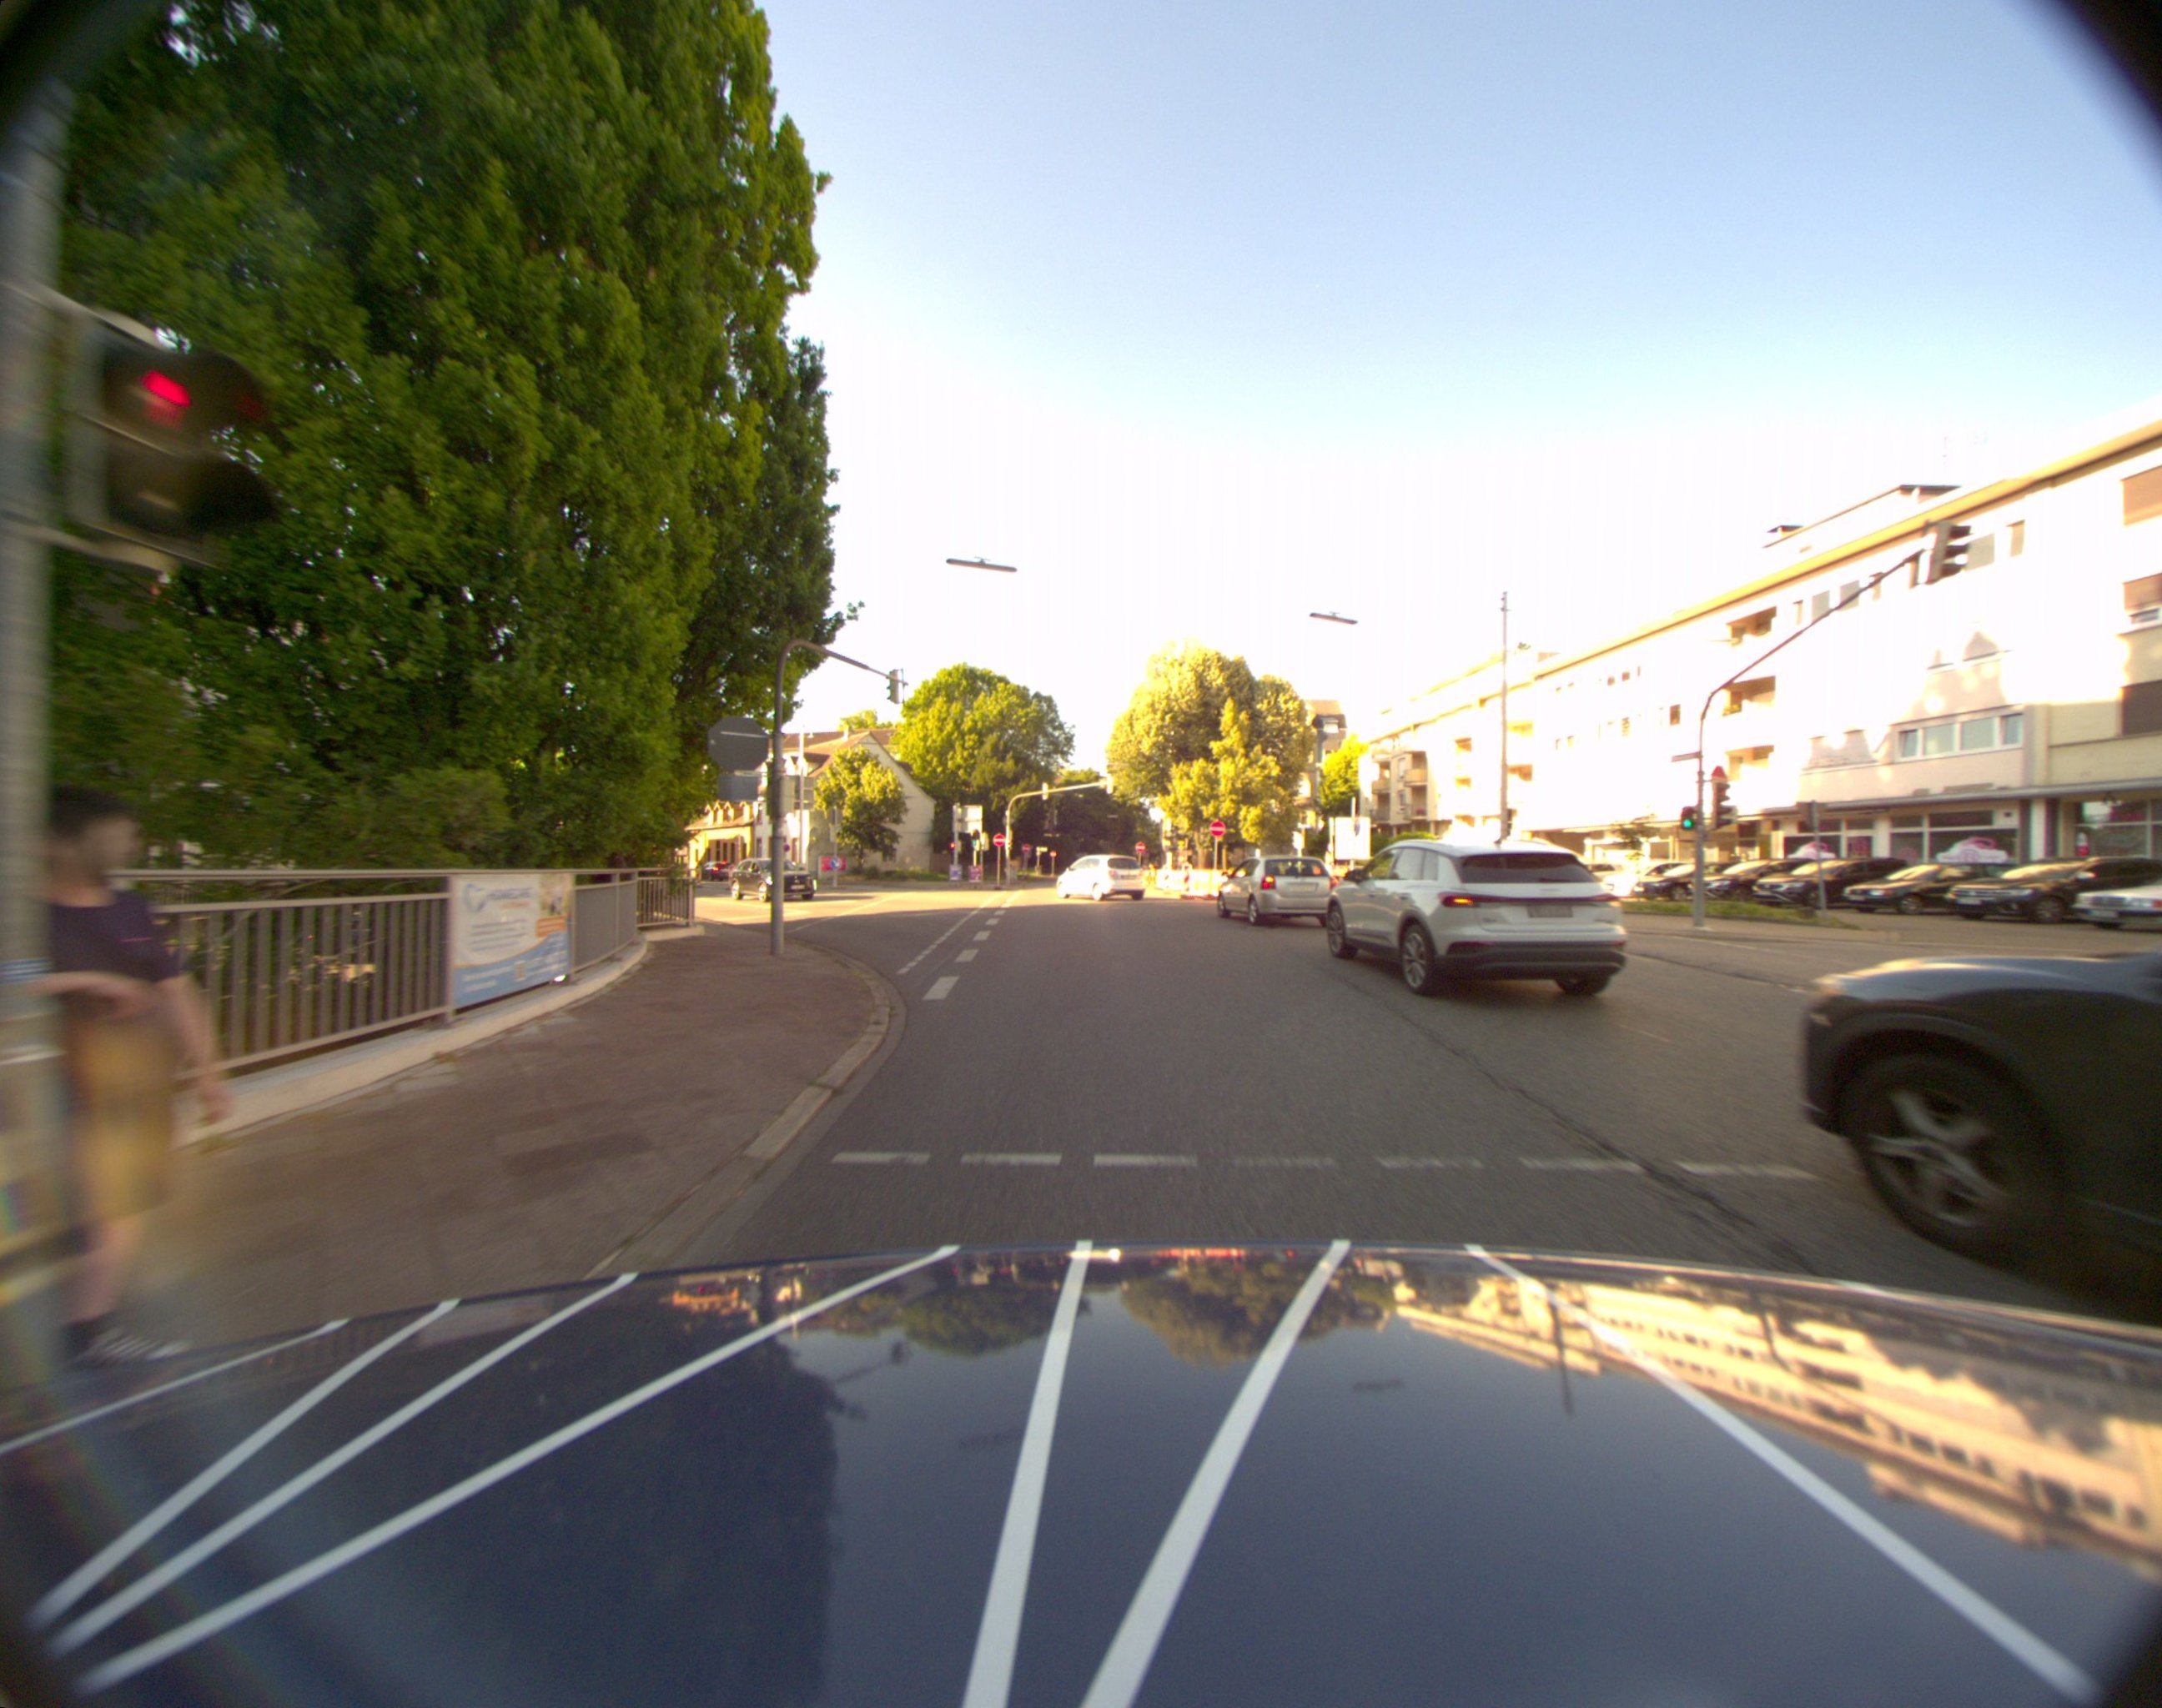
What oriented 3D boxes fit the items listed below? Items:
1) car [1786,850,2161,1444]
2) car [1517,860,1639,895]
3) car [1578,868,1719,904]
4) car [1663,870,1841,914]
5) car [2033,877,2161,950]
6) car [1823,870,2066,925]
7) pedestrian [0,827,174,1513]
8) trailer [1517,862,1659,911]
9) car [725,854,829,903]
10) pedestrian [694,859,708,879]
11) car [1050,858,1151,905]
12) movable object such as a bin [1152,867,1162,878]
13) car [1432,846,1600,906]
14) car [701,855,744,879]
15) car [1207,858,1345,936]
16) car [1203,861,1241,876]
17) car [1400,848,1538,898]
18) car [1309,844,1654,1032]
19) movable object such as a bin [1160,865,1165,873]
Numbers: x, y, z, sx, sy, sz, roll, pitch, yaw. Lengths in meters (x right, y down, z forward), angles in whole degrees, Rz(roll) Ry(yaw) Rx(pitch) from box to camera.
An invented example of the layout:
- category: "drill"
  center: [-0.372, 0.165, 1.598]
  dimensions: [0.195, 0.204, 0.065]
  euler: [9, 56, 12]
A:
- category: "car"
  center: [3.879, 0.781, 1.072]
  dimensions: [1.958, 1.639, 4.285]
  euler: [-1, -1, 4]
- category: "car"
  center: [23.050, 1.087, 35.354]
  dimensions: [4.323, 1.501, 2.001]
  euler: [-1, -1, 2]
- category: "car"
  center: [23.522, 1.296, 31.629]
  dimensions: [4.323, 1.390, 2.001]
  euler: [-1, -1, 2]
- category: "car"
  center: [23.163, 1.297, 26.372]
  dimensions: [4.323, 1.390, 2.001]
  euler: [-1, -1, 2]
- category: "car"
  center: [23.308, 1.187, 15.633]
  dimensions: [4.320, 1.390, 2.002]
  euler: [-1, -1, 14]
- category: "car"
  center: [23.644, 1.162, 20.961]
  dimensions: [4.323, 1.390, 2.001]
  euler: [-1, -1, 2]
- category: "pedestrian"
  center: [-2.934, 0.770, 1.884]
  dimensions: [0.603, 1.683, 0.612]
  euler: [1, 0, 3]
- category: "trailer"
  center: [15.315, 0.970, 23.062]
  dimensions: [3.263, 1.388, 1.574]
  euler: [-1, -1, -2]
- category: "car"
  center: [-11.852, 0.890, 29.434]
  dimensions: [2.004, 1.661, 4.650]
  euler: [-4, 2, -45]
- category: "pedestrian"
  center: [-34.220, 1.359, 68.406]
  dimensions: [0.959, 1.827, 1.286]
  euler: [-1, 0, -37]
- category: "car"
  center: [0.607, 0.951, 27.139]
  dimensions: [1.784, 1.533, 3.991]
  euler: [-1, -1, -30]
- category: "movable object such as a bin"
  center: [10.595, 2.545, 105.407]
  dimensions: [1.083, 1.422, 1.409]
  euler: [-1, -1, 18]
- category: "car"
  center: [15.152, 0.770, 26.672]
  dimensions: [4.679, 1.953, 2.117]
  euler: [-1, -1, -2]
- category: "car"
  center: [-28.911, 1.035, 61.267]
  dimensions: [2.005, 1.804, 4.240]
  euler: [4, -3, -40]
- category: "car"
  center: [4.089, 0.854, 16.624]
  dimensions: [1.780, 1.471, 4.095]
  euler: [-1, -1, -3]
- category: "car"
  center: [15.933, 1.628, 85.916]
  dimensions: [3.996, 1.543, 2.001]
  euler: [1, -1, 2]
- category: "car"
  center: [15.010, 0.726, 29.577]
  dimensions: [4.323, 1.841, 2.001]
  euler: [-1, -1, 3]
- category: "car"
  center: [4.220, 0.776, 8.995]
  dimensions: [1.780, 1.639, 4.535]
  euler: [-1, -1, 2]
- category: "movable object such as a bin"
  center: [10.788, 1.966, 100.609]
  dimensions: [0.637, 1.035, 0.764]
  euler: [-1, 0, 2]
